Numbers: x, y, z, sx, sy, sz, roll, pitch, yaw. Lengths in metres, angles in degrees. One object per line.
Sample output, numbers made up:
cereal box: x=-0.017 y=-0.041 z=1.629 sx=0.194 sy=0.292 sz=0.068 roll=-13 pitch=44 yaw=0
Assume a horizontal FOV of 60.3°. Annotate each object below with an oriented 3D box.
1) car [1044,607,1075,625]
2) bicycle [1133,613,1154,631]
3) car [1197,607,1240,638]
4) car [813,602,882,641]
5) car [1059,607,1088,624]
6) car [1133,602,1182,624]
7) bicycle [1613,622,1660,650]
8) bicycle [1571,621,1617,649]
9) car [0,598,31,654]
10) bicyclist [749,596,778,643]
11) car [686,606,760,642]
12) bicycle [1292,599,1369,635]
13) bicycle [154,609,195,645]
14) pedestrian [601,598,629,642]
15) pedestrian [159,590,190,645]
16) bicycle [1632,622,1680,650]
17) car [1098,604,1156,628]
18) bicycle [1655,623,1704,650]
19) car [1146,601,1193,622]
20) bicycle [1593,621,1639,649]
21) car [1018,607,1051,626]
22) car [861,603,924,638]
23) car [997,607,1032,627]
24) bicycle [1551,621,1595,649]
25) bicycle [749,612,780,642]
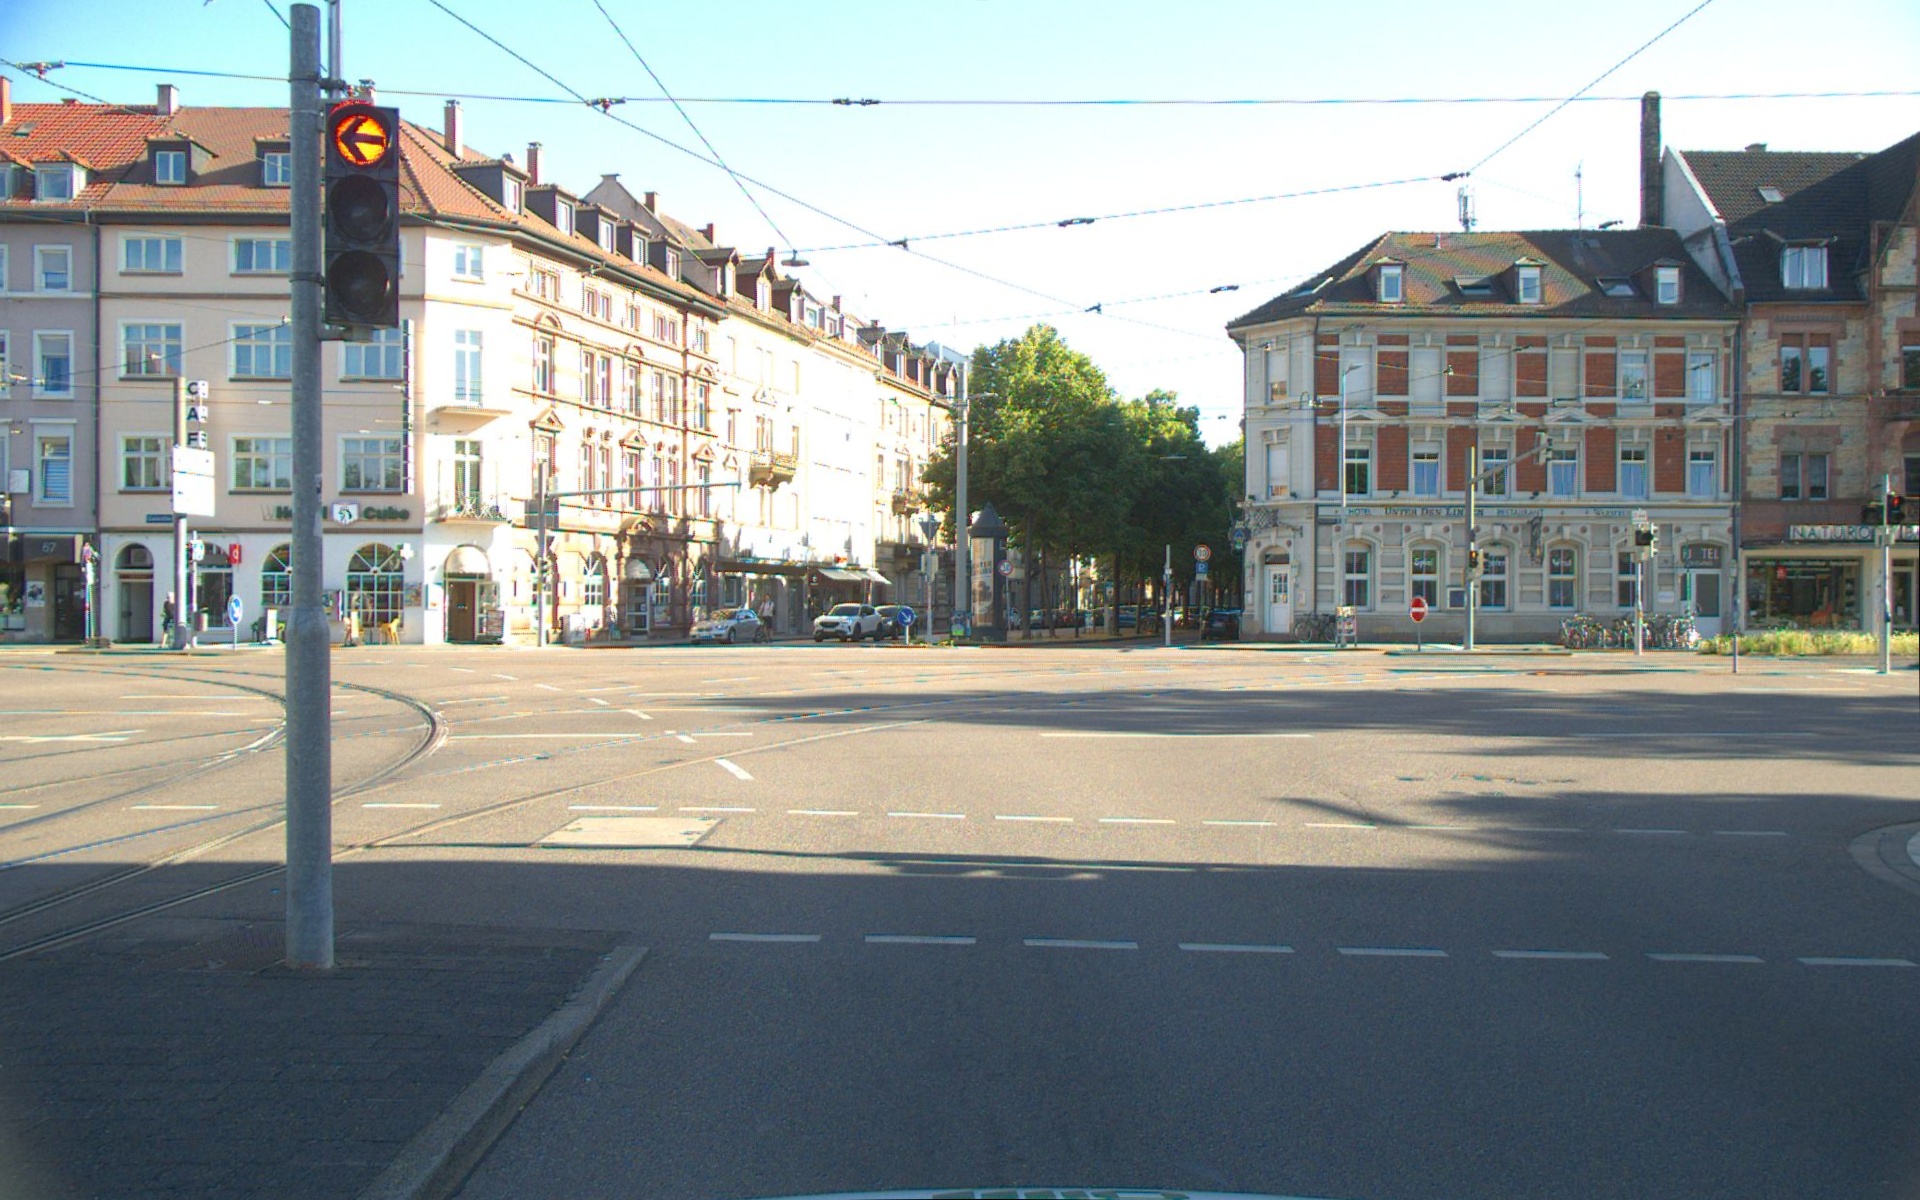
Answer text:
car: x=7.890 y=1.218 z=130.840 sx=1.642 sy=1.378 sz=3.593 roll=0 pitch=0 yaw=16
bicycle: x=11.049 y=1.299 z=99.623 sx=0.625 sy=1.039 sz=1.840 roll=1 pitch=0 yaw=-14
car: x=12.955 y=1.109 z=82.745 sx=1.642 sy=1.509 sz=3.950 roll=0 pitch=0 yaw=16
car: x=-4.539 y=0.844 z=67.223 sx=1.642 sy=1.509 sz=3.774 roll=0 pitch=0 yaw=16
car: x=9.315 y=1.254 z=135.892 sx=1.642 sy=1.378 sz=3.593 roll=0 pitch=0 yaw=16
car: x=15.317 y=0.963 z=128.243 sx=3.503 sy=1.677 sz=1.684 roll=0 pitch=0 yaw=16
bicycle: x=21.859 y=1.147 z=53.498 sx=0.645 sy=0.855 sz=2.160 roll=1 pitch=0 yaw=1
bicycle: x=20.476 y=1.123 z=53.451 sx=0.645 sy=0.855 sz=2.160 roll=1 pitch=0 yaw=1
car: x=-32.156 y=0.789 z=52.254 sx=4.276 sy=1.741 sz=2.306 roll=1 pitch=0 yaw=1
bicyclist: x=-7.718 y=0.767 z=65.001 sx=0.761 sy=1.834 sz=1.056 roll=1 pitch=-1 yaw=13
car: x=-9.544 y=0.934 z=66.742 sx=1.642 sy=1.378 sz=3.593 roll=0 pitch=0 yaw=16
bicycle: x=12.862 y=0.591 z=57.454 sx=2.504 sy=1.194 sz=0.818 roll=1 pitch=-1 yaw=-4
bicycle: x=-24.700 y=0.840 z=52.002 sx=0.561 sy=1.096 sz=1.497 roll=1 pitch=0 yaw=-1
pedestrian: x=-13.447 y=0.777 z=64.440 sx=0.759 sy=1.699 sz=0.831 roll=1 pitch=-1 yaw=15
pedestrian: x=-24.695 y=0.541 z=52.021 sx=0.570 sy=1.699 sz=0.752 roll=1 pitch=-1 yaw=-1
bicycle: x=22.486 y=1.158 z=53.477 sx=0.645 sy=0.855 sz=2.160 roll=1 pitch=0 yaw=1
car: x=11.712 y=1.119 z=115.830 sx=3.819 sy=1.677 sz=1.684 roll=0 pitch=0 yaw=16
bicycle: x=23.275 y=1.171 z=53.523 sx=0.645 sy=0.855 sz=2.160 roll=1 pitch=0 yaw=1
car: x=16.939 y=0.889 z=133.742 sx=3.503 sy=1.677 sz=1.684 roll=0 pitch=0 yaw=16
bicycle: x=21.188 y=1.135 z=53.464 sx=0.645 sy=0.855 sz=2.160 roll=1 pitch=0 yaw=1
car: x=5.531 y=1.202 z=122.498 sx=1.642 sy=1.378 sz=3.593 roll=0 pitch=0 yaw=16
car: x=-2.952 y=0.889 z=73.548 sx=1.642 sy=1.509 sz=3.950 roll=0 pitch=0 yaw=16
car: x=3.819 y=1.161 z=115.511 sx=1.642 sy=1.378 sz=3.593 roll=0 pitch=0 yaw=16
bicycle: x=19.757 y=1.110 z=53.364 sx=0.645 sy=0.855 sz=2.160 roll=1 pitch=0 yaw=1
bicycle: x=-7.685 y=1.048 z=65.123 sx=0.687 sy=1.137 sz=1.636 roll=1 pitch=0 yaw=13
